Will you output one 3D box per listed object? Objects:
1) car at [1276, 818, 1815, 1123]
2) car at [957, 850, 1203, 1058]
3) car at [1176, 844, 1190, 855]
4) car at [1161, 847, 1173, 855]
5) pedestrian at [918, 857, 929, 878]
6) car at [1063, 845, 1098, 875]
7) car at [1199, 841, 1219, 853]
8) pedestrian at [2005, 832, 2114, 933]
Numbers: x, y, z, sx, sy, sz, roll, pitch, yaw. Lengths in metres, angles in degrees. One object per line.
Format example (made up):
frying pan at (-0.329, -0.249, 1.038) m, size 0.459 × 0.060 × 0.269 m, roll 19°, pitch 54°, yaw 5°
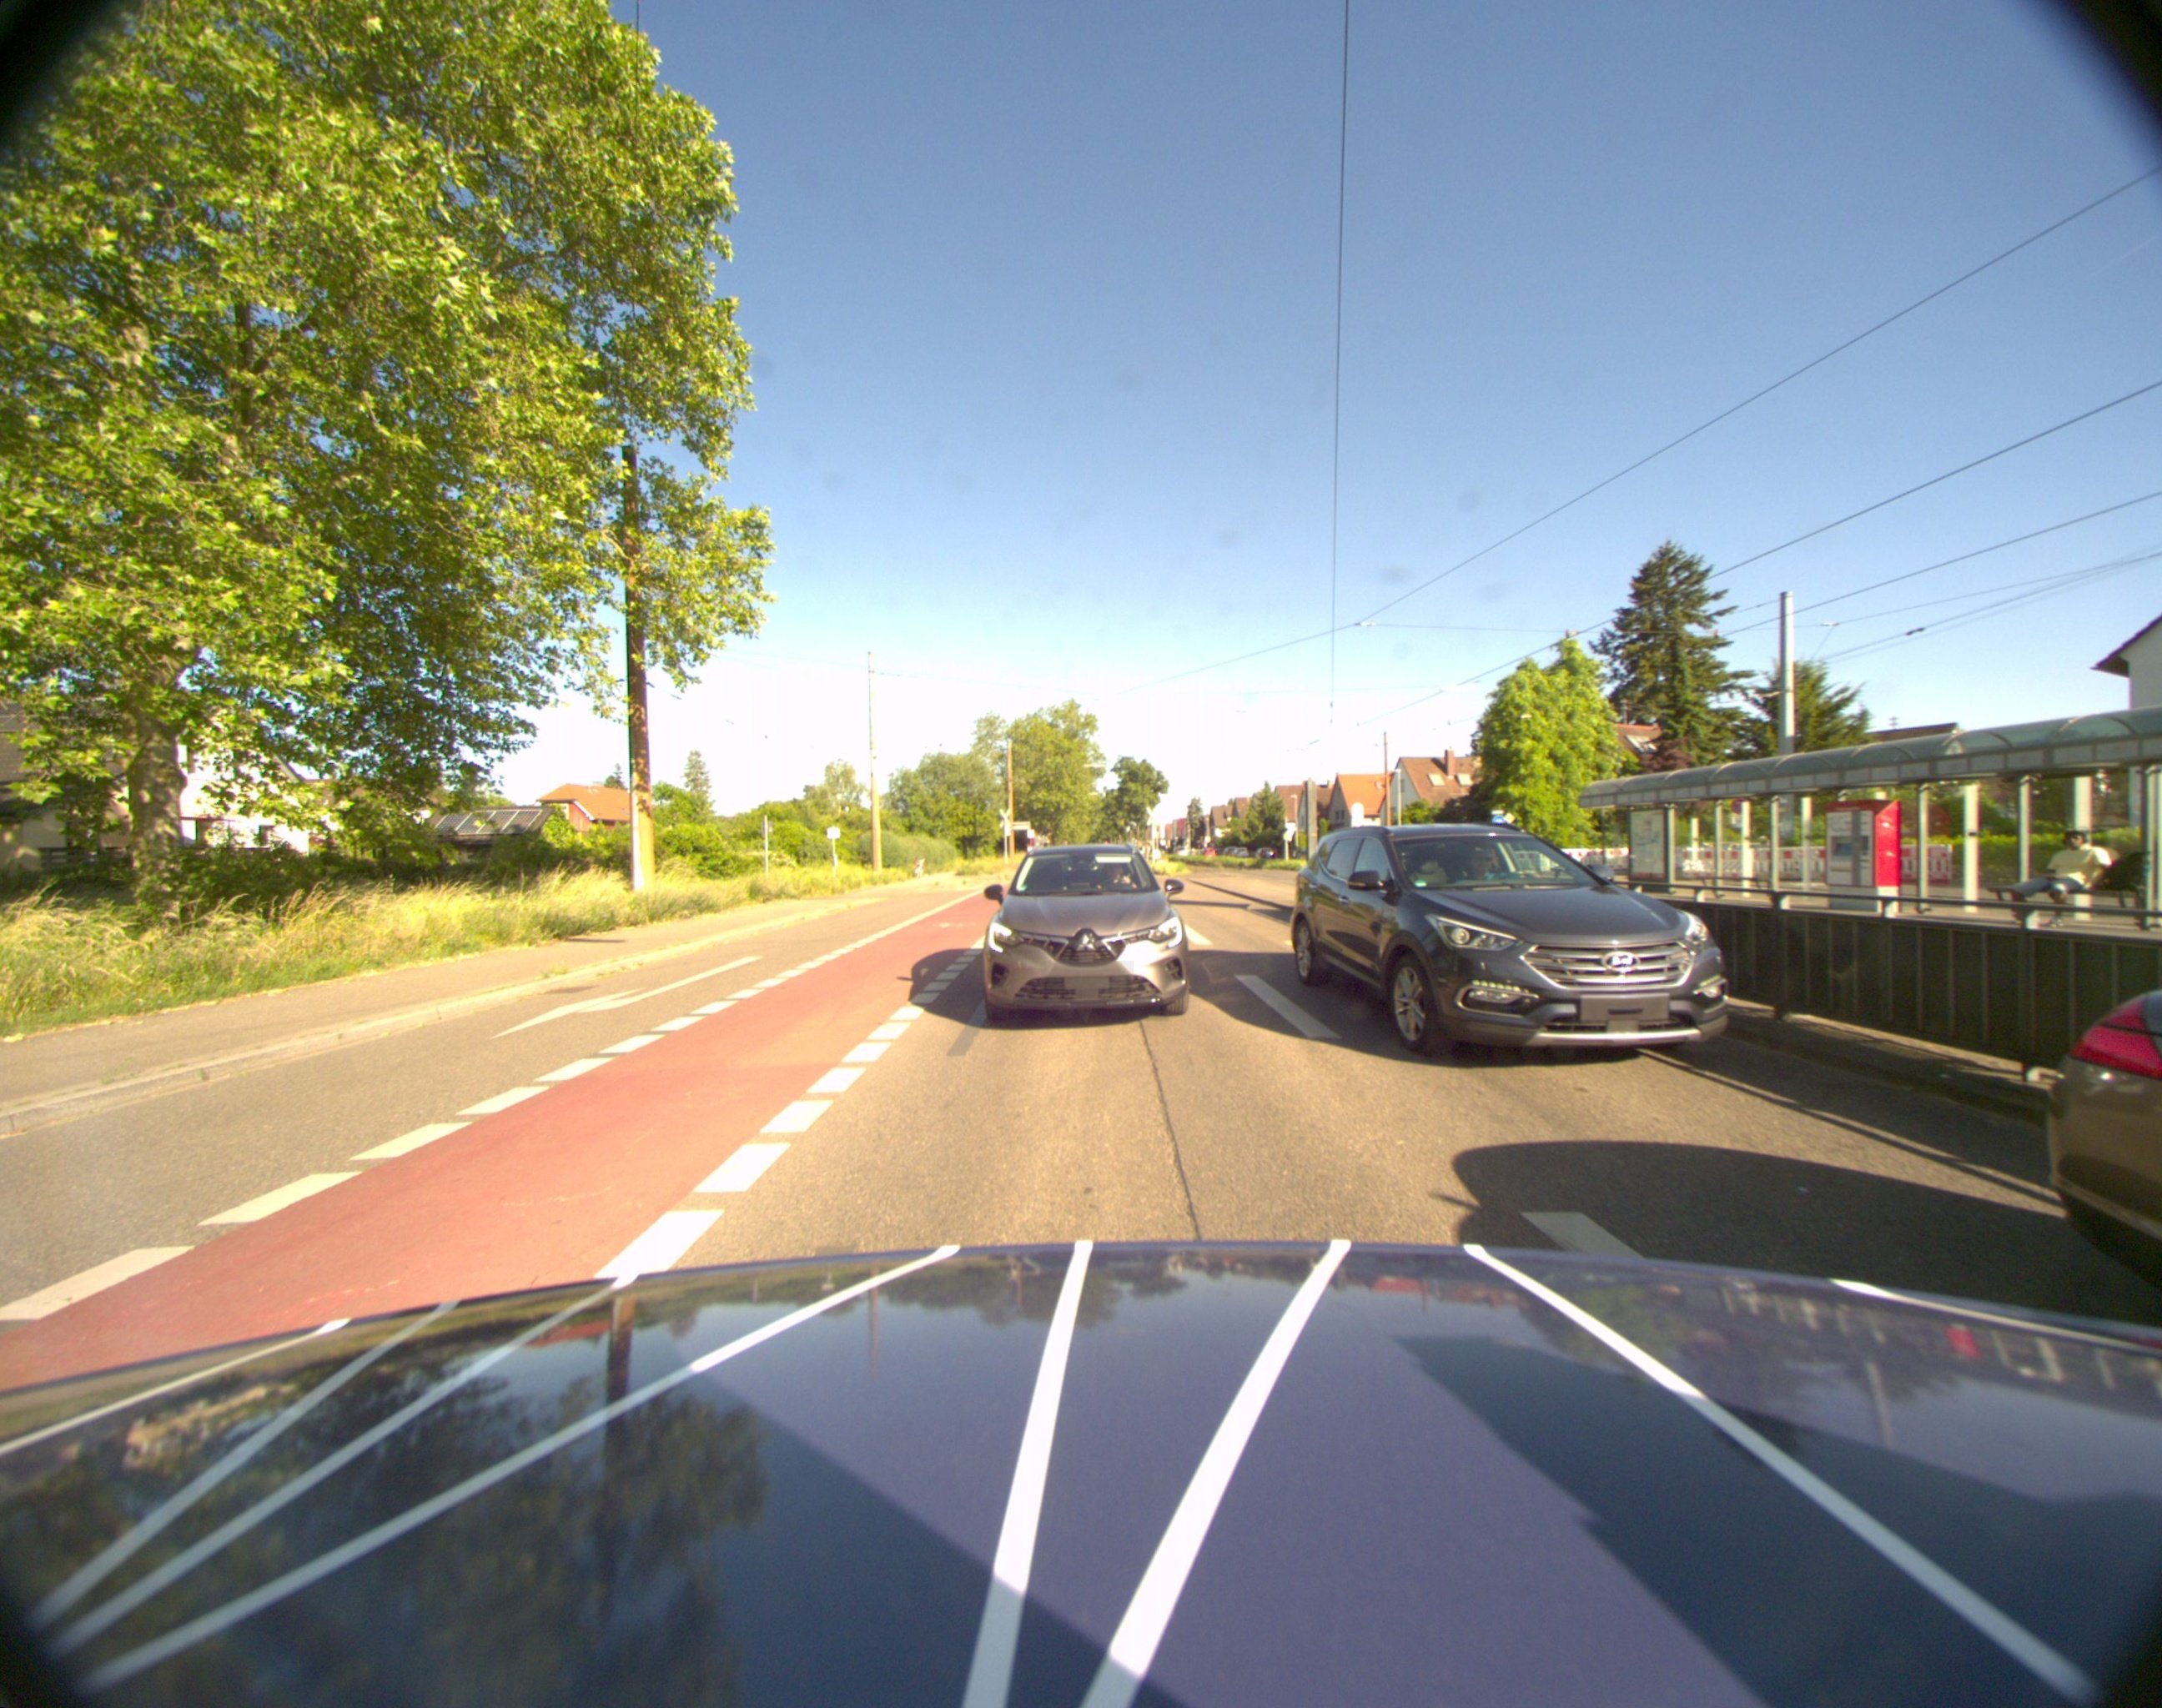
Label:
car at (3.178, 0.639, 6.426) m, size 1.886 × 1.686 × 4.299 m, roll -1°, pitch 0°, yaw -1°
car at (0.017, 0.749, 7.648) m, size 1.839 × 1.541 × 3.815 m, roll -1°, pitch 0°, yaw 1°
car at (17.485, -0.814, 130.393) m, size 1.998 × 1.761 × 4.000 m, roll -1°, pitch 1°, yaw 1°
car at (17.334, -0.615, 153.610) m, size 1.998 × 1.652 × 4.000 m, roll -1°, pitch 0°, yaw 1°
pedestrian at (-8.016, 0.682, 38.659) m, size 0.482 × 1.027 × 0.454 m, roll -1°, pitch 1°, yaw 1°
car at (-0.037, 0.321, 42.045) m, size 1.839 × 1.541 × 3.815 m, roll -1°, pitch 0°, yaw 0°
car at (17.007, -0.903, 101.048) m, size 1.998 × 1.455 × 4.000 m, roll -1°, pitch 0°, yaw 1°
pedestrian at (14.122, 0.400, 10.983) m, size 0.623 × 1.406 × 0.711 m, roll 0°, pitch 1°, yaw -2°
